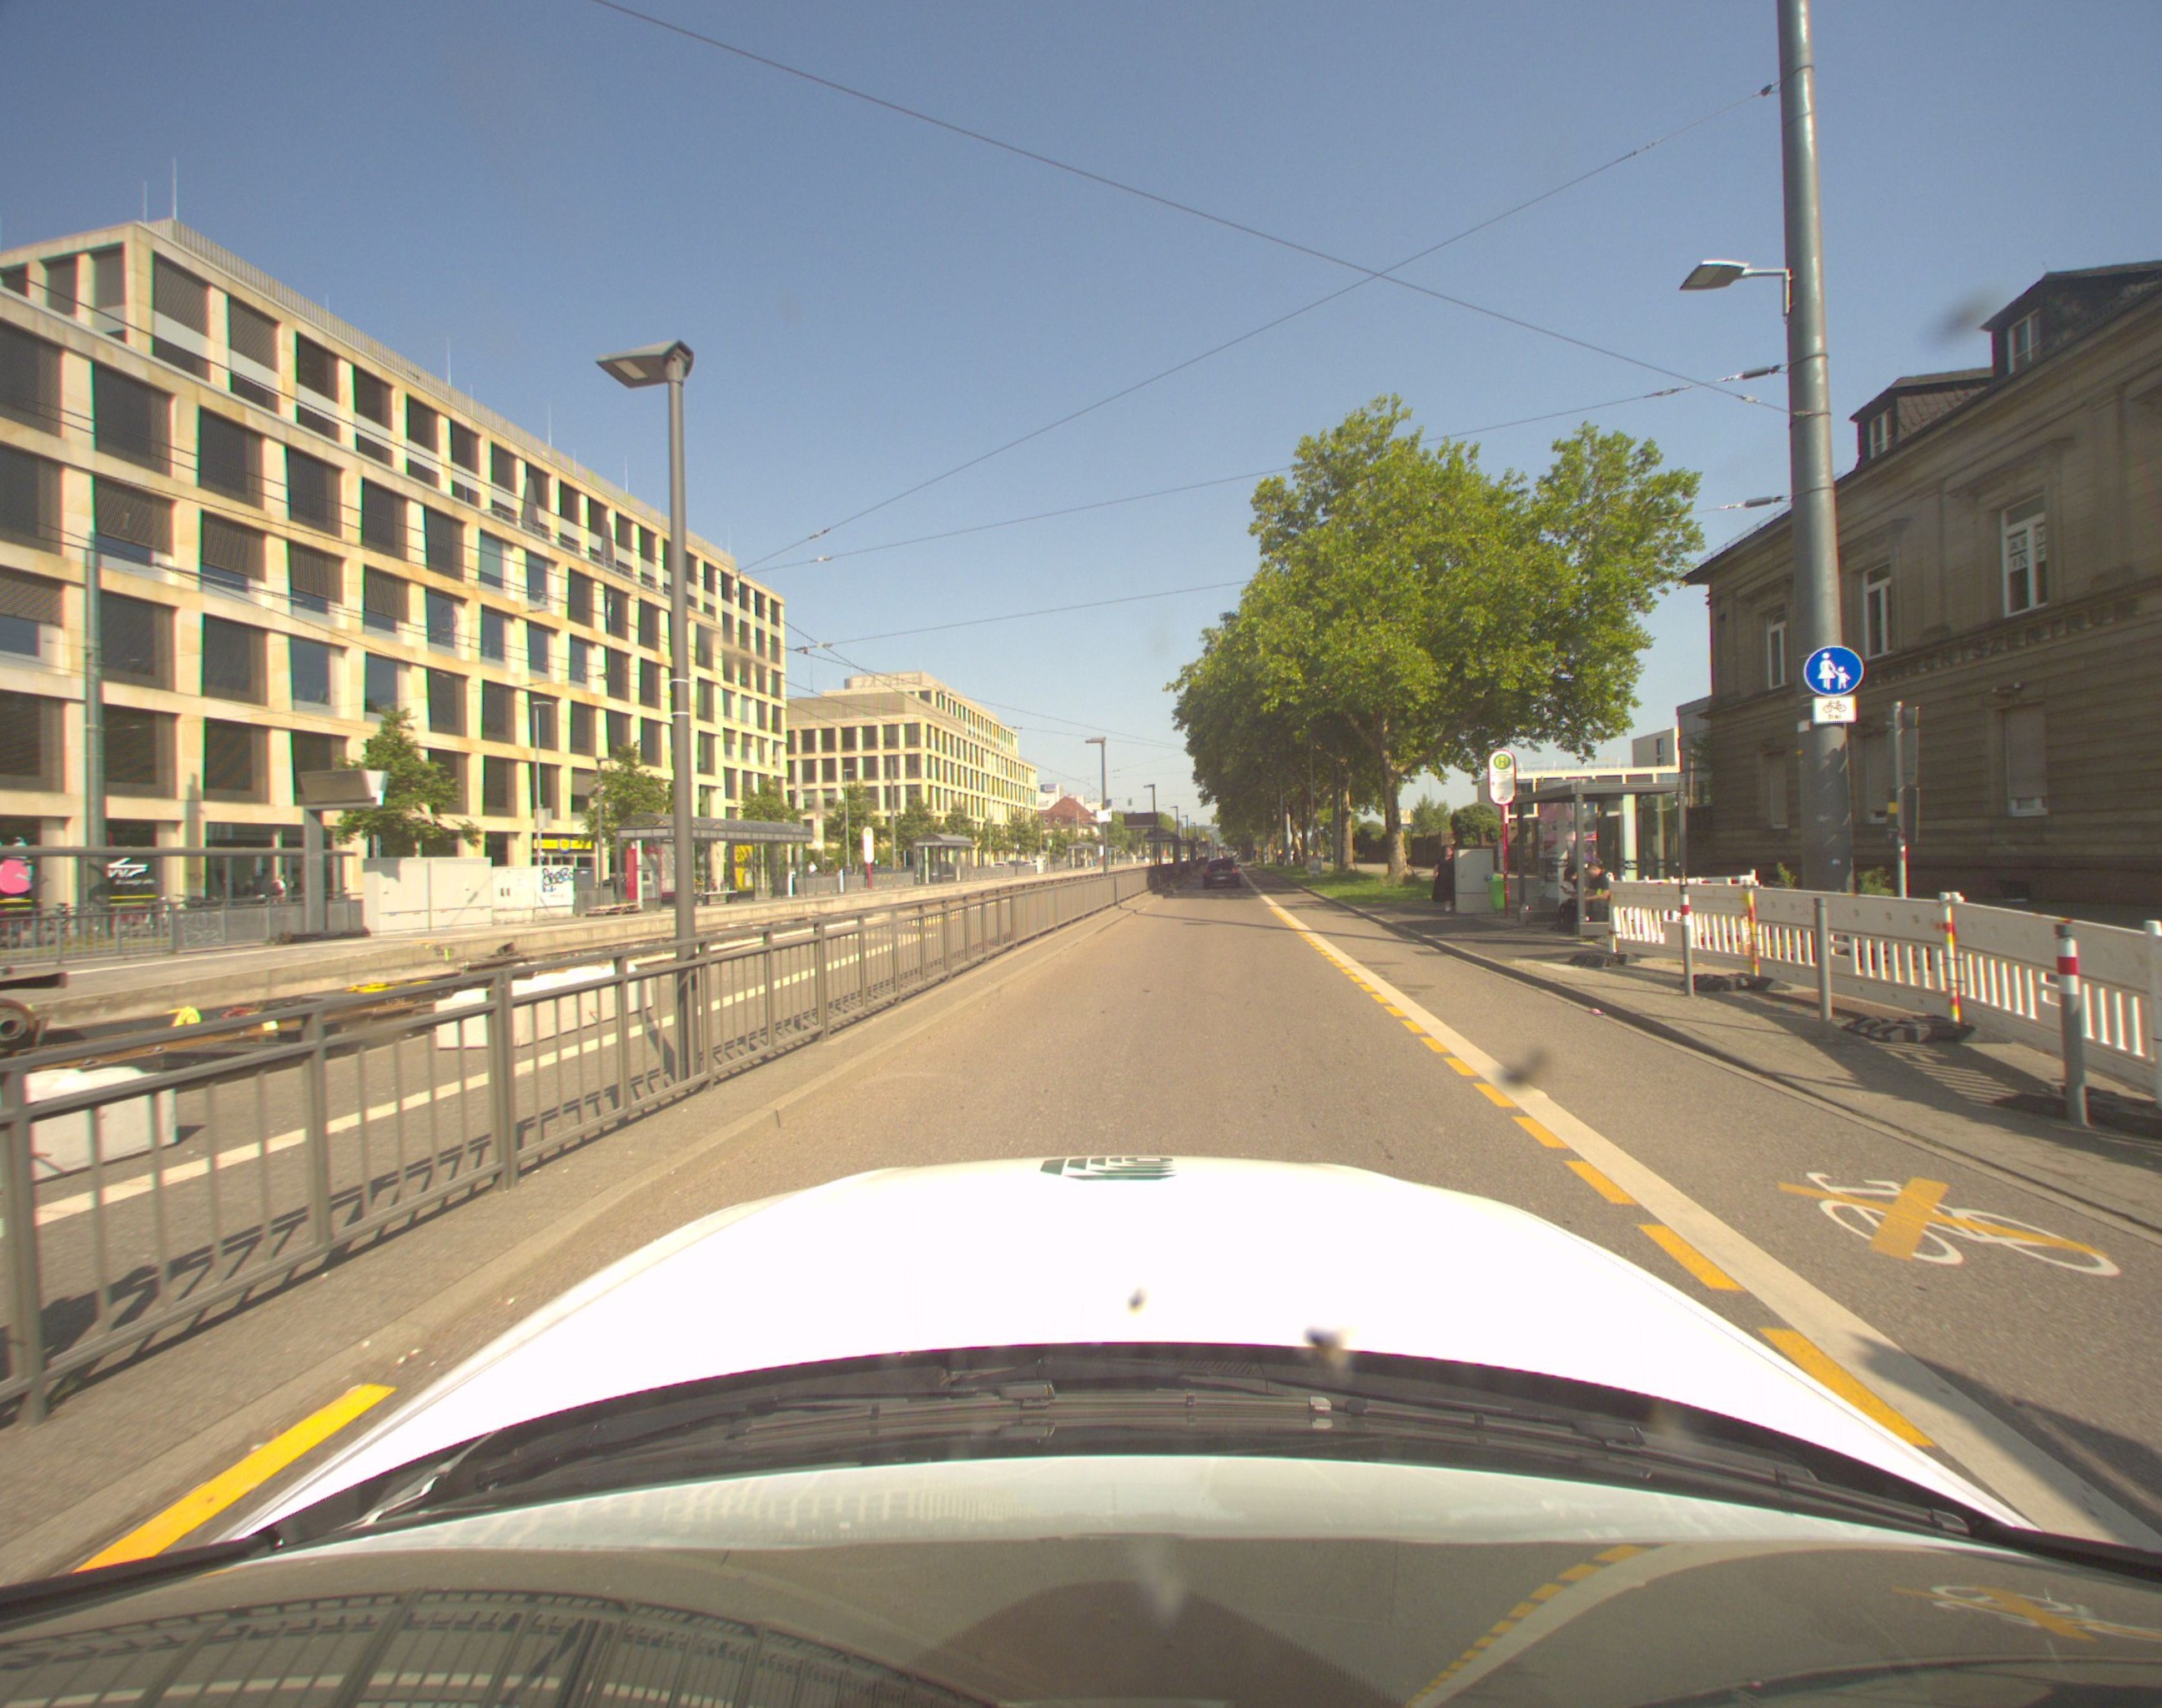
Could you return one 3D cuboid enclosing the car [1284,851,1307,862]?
[{"bbox_3d":[42.320,0.549,160.711,4.075,1.918,1.854,-4,-1,13],"label":"car"}]

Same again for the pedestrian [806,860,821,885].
[{"bbox_3d":[-21.738,1.525,66.091,0.789,1.917,0.839,-5,-3,4],"label":"pedestrian"}]

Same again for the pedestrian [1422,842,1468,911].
[{"bbox_3d":[8.803,0.537,19.736,0.874,1.626,0.826,-2,-1,16],"label":"pedestrian"}]

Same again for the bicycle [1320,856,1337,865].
[{"bbox_3d":[33.967,0.900,111.786,2.158,1.076,0.746,-5,-2,14],"label":"bicycle"}]

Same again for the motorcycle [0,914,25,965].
[{"bbox_3d":[-19.036,1.490,13.606,0.426,0.878,1.640,-5,-2,15],"label":"motorcycle"}]

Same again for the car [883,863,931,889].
[{"bbox_3d":[-11.446,1.400,53.767,1.651,1.571,3.771,-2,-1,11],"label":"car"}]

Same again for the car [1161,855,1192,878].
[{"bbox_3d":[7.238,0.936,61.533,1.981,1.559,4.012,-4,-1,11],"label":"car"}]

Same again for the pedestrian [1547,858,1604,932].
[{"bbox_3d":[8.605,0.703,14.203,0.605,1.218,0.575,-3,-1,8],"label":"pedestrian"}]

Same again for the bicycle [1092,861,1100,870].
[{"bbox_3d":[2.073,1.515,109.566,0.467,1.147,1.492,-2,-1,25],"label":"bicycle"}]

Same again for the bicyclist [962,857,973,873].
[{"bbox_3d":[-10.084,0.959,72.468,0.625,1.402,0.786,-5,-3,10],"label":"bicyclist"}]

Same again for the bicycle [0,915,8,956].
[{"bbox_3d":[-27.072,2.001,19.267,2.416,0.967,0.947,-2,0,8],"label":"bicycle"}]

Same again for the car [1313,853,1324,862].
[{"bbox_3d":[43.169,0.680,148.166,1.597,1.575,3.808,-3,-1,11],"label":"car"}]

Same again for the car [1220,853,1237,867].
[{"bbox_3d":[17.496,0.653,96.586,1.895,1.537,4.011,-2,0,10],"label":"car"}]

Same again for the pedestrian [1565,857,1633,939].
[{"bbox_3d":[8.510,0.707,13.405,0.605,1.277,0.761,-3,-1,8],"label":"pedestrian"}]

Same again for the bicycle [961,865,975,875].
[{"bbox_3d":[-10.044,1.466,72.443,0.625,0.822,1.902,-5,-2,10],"label":"bicycle"}]

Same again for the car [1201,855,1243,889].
[{"bbox_3d":[6.927,0.870,39.896,1.895,1.537,4.011,-2,-1,10],"label":"car"}]

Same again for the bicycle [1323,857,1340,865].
[{"bbox_3d":[33.449,0.953,108.792,2.161,1.076,0.745,-2,-1,8],"label":"bicycle"}]
